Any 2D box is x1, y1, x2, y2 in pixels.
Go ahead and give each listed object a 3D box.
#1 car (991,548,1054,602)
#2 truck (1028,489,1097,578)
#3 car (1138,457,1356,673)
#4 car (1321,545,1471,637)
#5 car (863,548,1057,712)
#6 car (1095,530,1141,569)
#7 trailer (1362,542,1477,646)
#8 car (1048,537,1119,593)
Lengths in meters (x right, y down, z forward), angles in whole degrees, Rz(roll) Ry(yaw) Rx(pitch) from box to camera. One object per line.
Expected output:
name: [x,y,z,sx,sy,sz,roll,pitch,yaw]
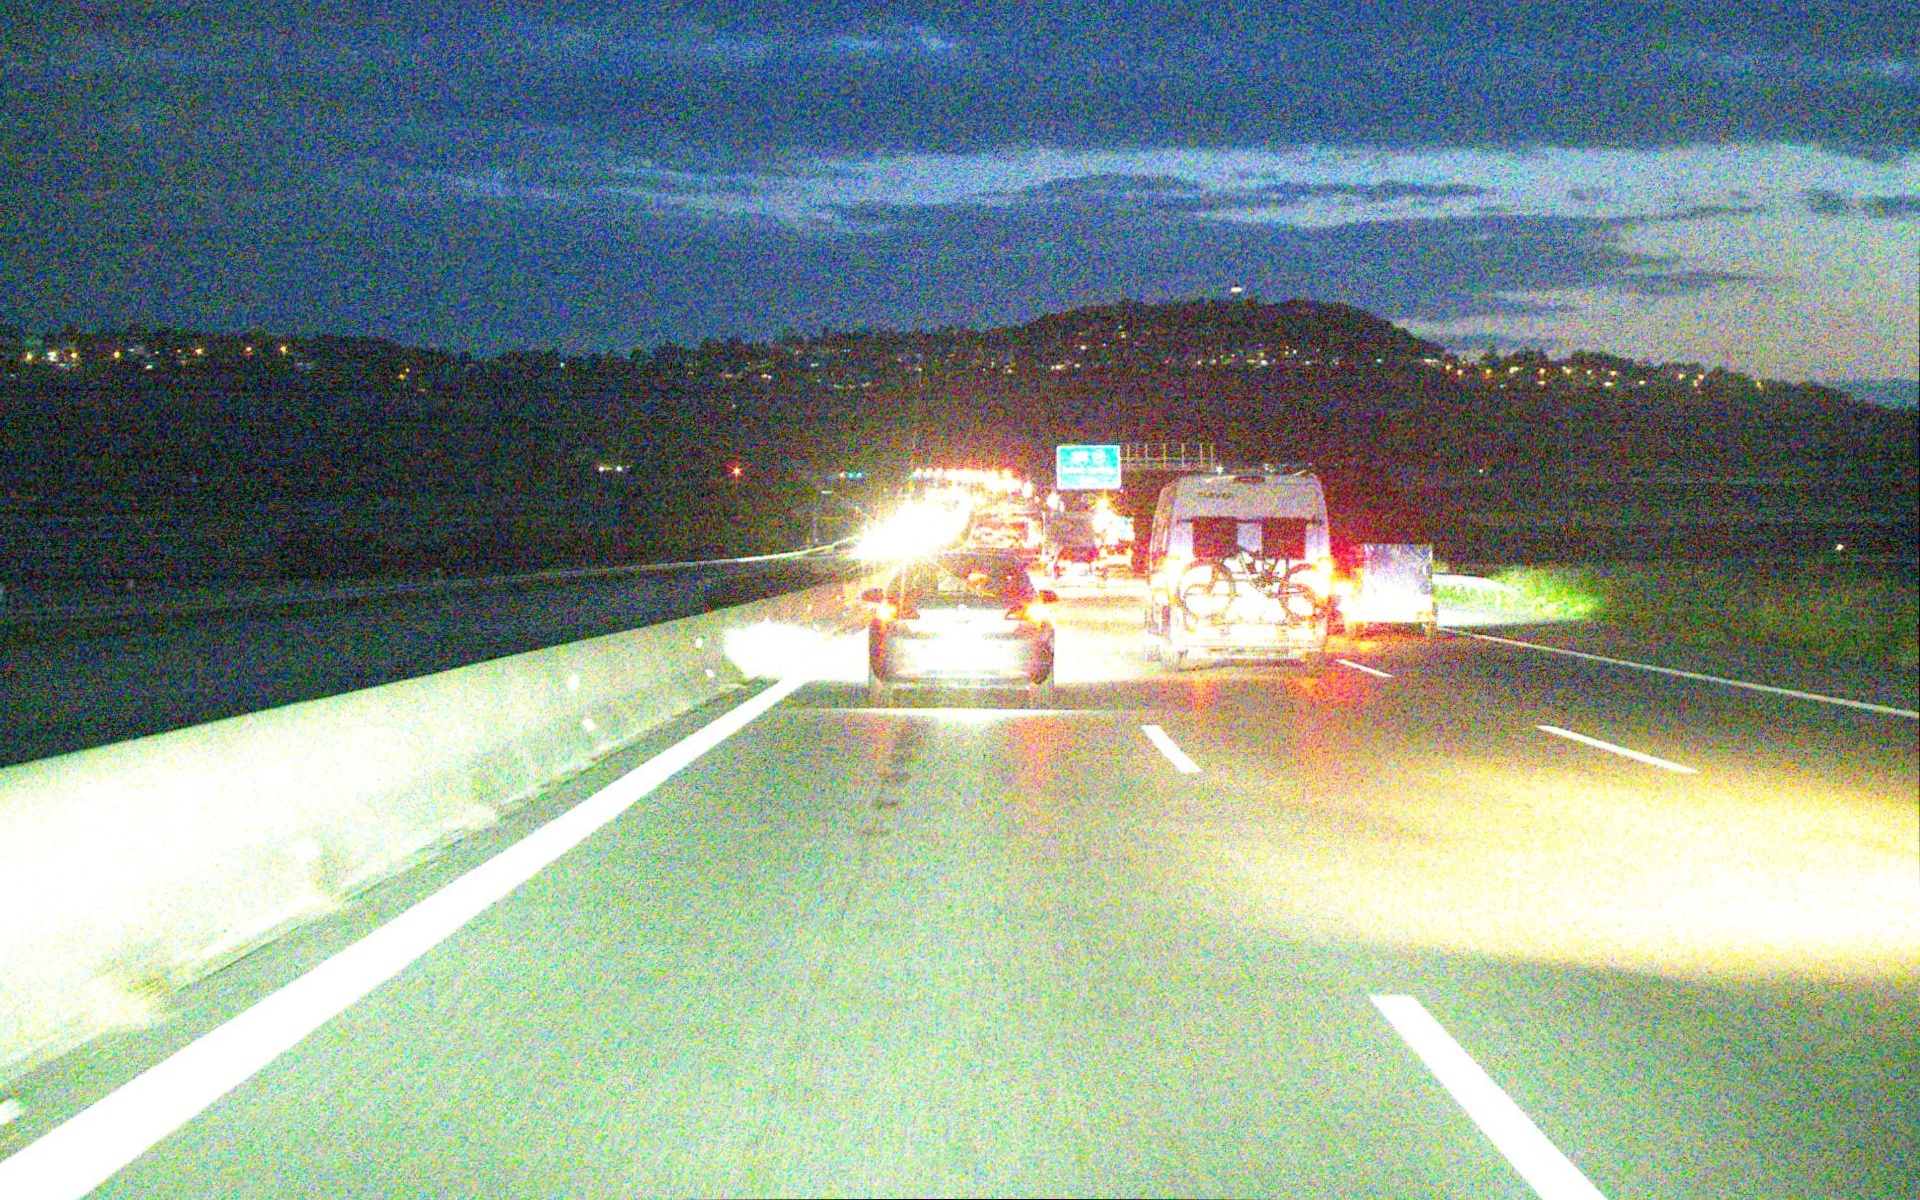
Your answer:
car: [1.780,-0.729,98.391,1.745,1.435,4.367,-1,2,1]
truck: [4.657,-3.037,157.582,2.781,3.942,7.994,-1,1,-1]
car: [3.563,-0.493,43.755,2.351,2.526,5.701,-1,2,1]
car: [7.775,-0.188,61.671,2.163,1.558,4.723,0,1,1]
car: [0.033,0.249,33.857,1.793,1.464,3.773,0,2,1]
car: [8.765,-2.822,191.031,2.351,2.068,4.723,-1,2,1]
trailer: [7.738,-0.126,58.042,1.566,1.687,2.821,0,1,0]
car: [4.314,-1.247,120.746,2.351,1.907,4.723,-1,1,1]
